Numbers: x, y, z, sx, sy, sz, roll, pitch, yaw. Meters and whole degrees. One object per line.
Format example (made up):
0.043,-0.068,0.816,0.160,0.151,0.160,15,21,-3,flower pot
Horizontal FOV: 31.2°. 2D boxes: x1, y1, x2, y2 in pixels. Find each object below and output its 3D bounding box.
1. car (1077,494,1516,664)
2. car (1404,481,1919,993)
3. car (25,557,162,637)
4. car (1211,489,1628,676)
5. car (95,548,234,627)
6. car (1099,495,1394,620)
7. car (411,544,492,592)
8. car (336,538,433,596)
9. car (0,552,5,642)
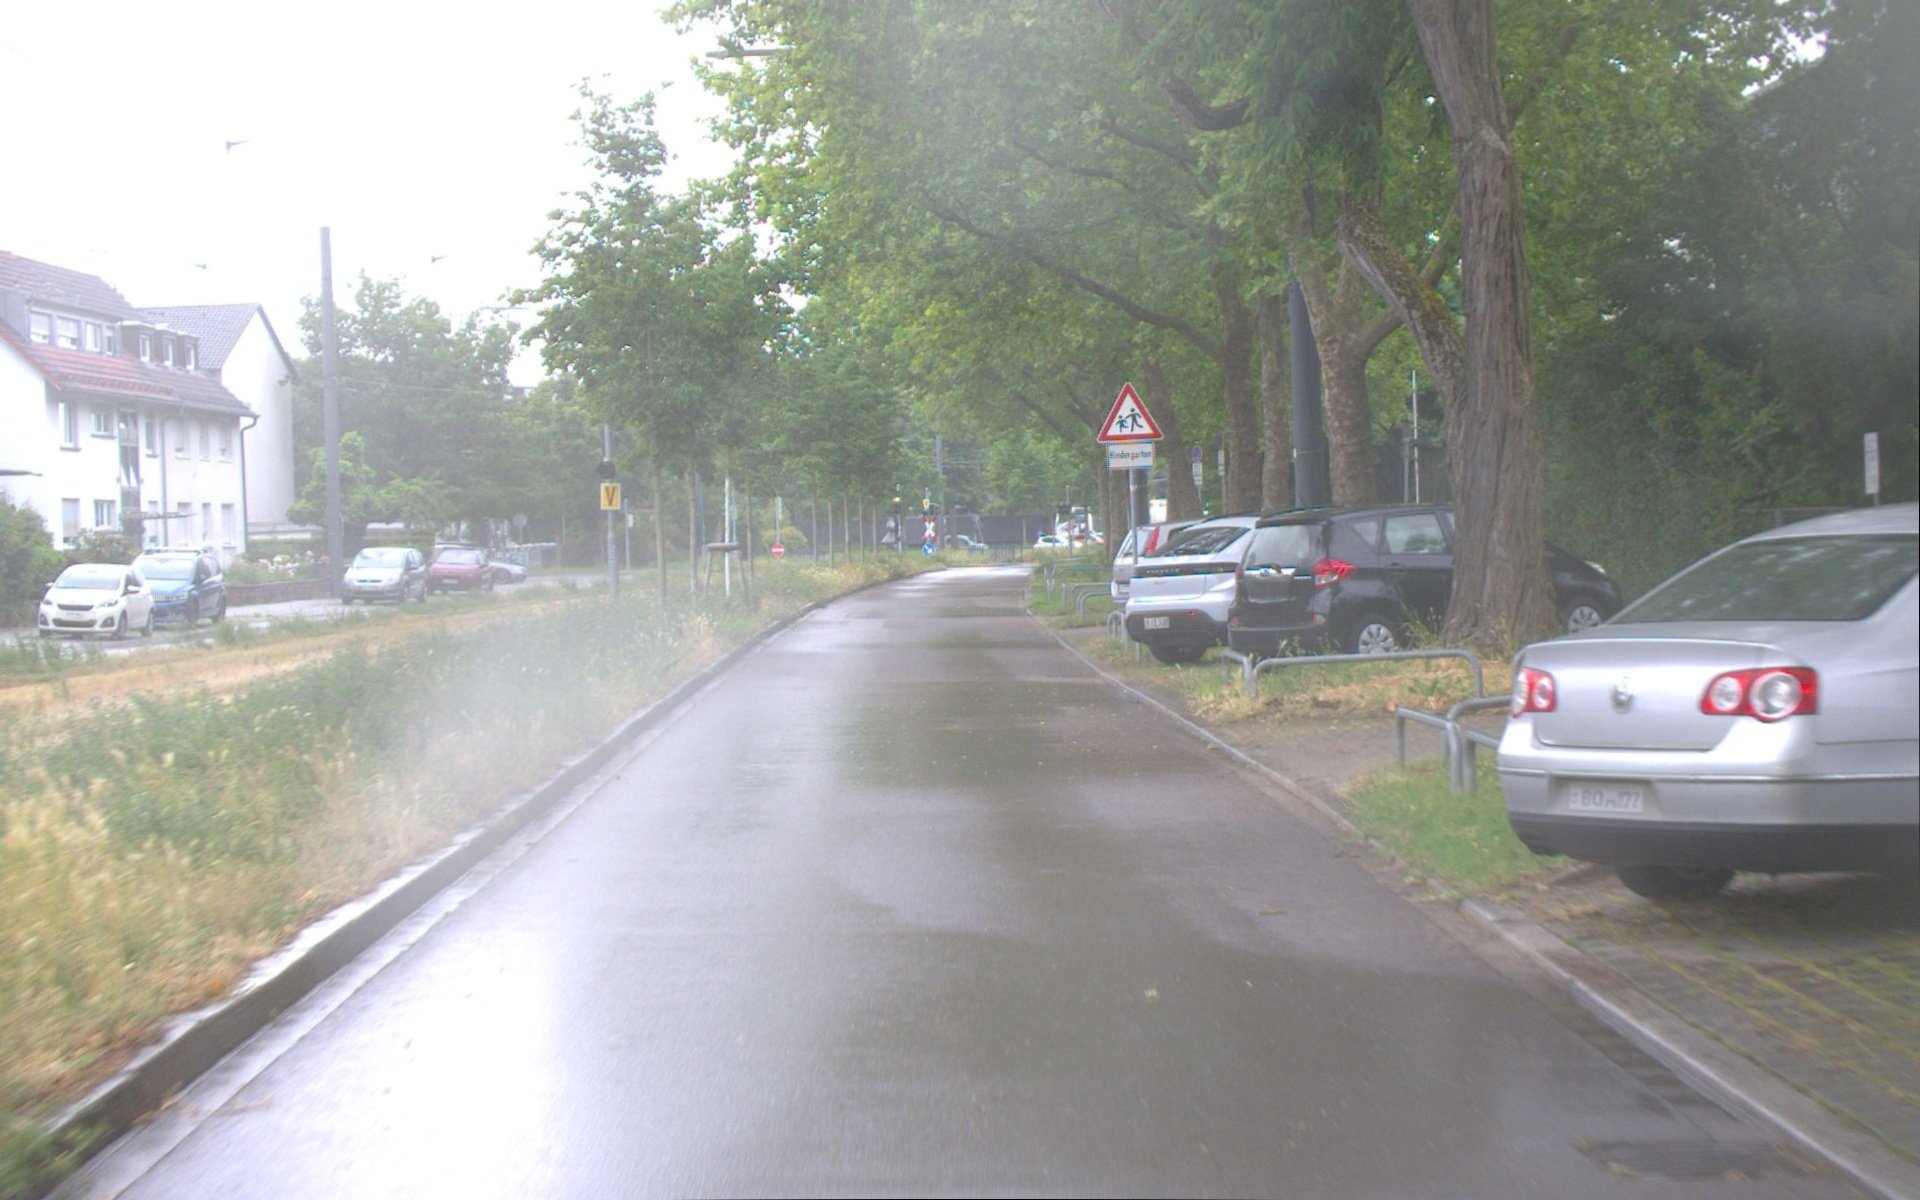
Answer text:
3.828,-0.264,38.652,4.761,1.662,1.994,-4,2,-37,car
4.111,0.321,13.218,4.547,1.539,1.887,-6,3,-33,car
-17.228,-0.077,68.473,1.796,1.483,3.597,0,2,0,car
4.369,-0.189,32.548,3.703,1.561,1.619,-3,2,-33,car
-17.367,-0.306,75.214,1.993,1.608,4.413,0,2,0,car
4.123,-0.623,49.613,3.854,1.561,1.620,-4,2,-14,car
-16.665,-1.078,112.832,1.993,1.483,4.206,0,2,0,car
-16.536,-0.965,98.997,1.993,1.575,4.517,0,2,0,car
-17.337,-0.002,56.665,1.993,1.511,4.206,0,2,0,car
